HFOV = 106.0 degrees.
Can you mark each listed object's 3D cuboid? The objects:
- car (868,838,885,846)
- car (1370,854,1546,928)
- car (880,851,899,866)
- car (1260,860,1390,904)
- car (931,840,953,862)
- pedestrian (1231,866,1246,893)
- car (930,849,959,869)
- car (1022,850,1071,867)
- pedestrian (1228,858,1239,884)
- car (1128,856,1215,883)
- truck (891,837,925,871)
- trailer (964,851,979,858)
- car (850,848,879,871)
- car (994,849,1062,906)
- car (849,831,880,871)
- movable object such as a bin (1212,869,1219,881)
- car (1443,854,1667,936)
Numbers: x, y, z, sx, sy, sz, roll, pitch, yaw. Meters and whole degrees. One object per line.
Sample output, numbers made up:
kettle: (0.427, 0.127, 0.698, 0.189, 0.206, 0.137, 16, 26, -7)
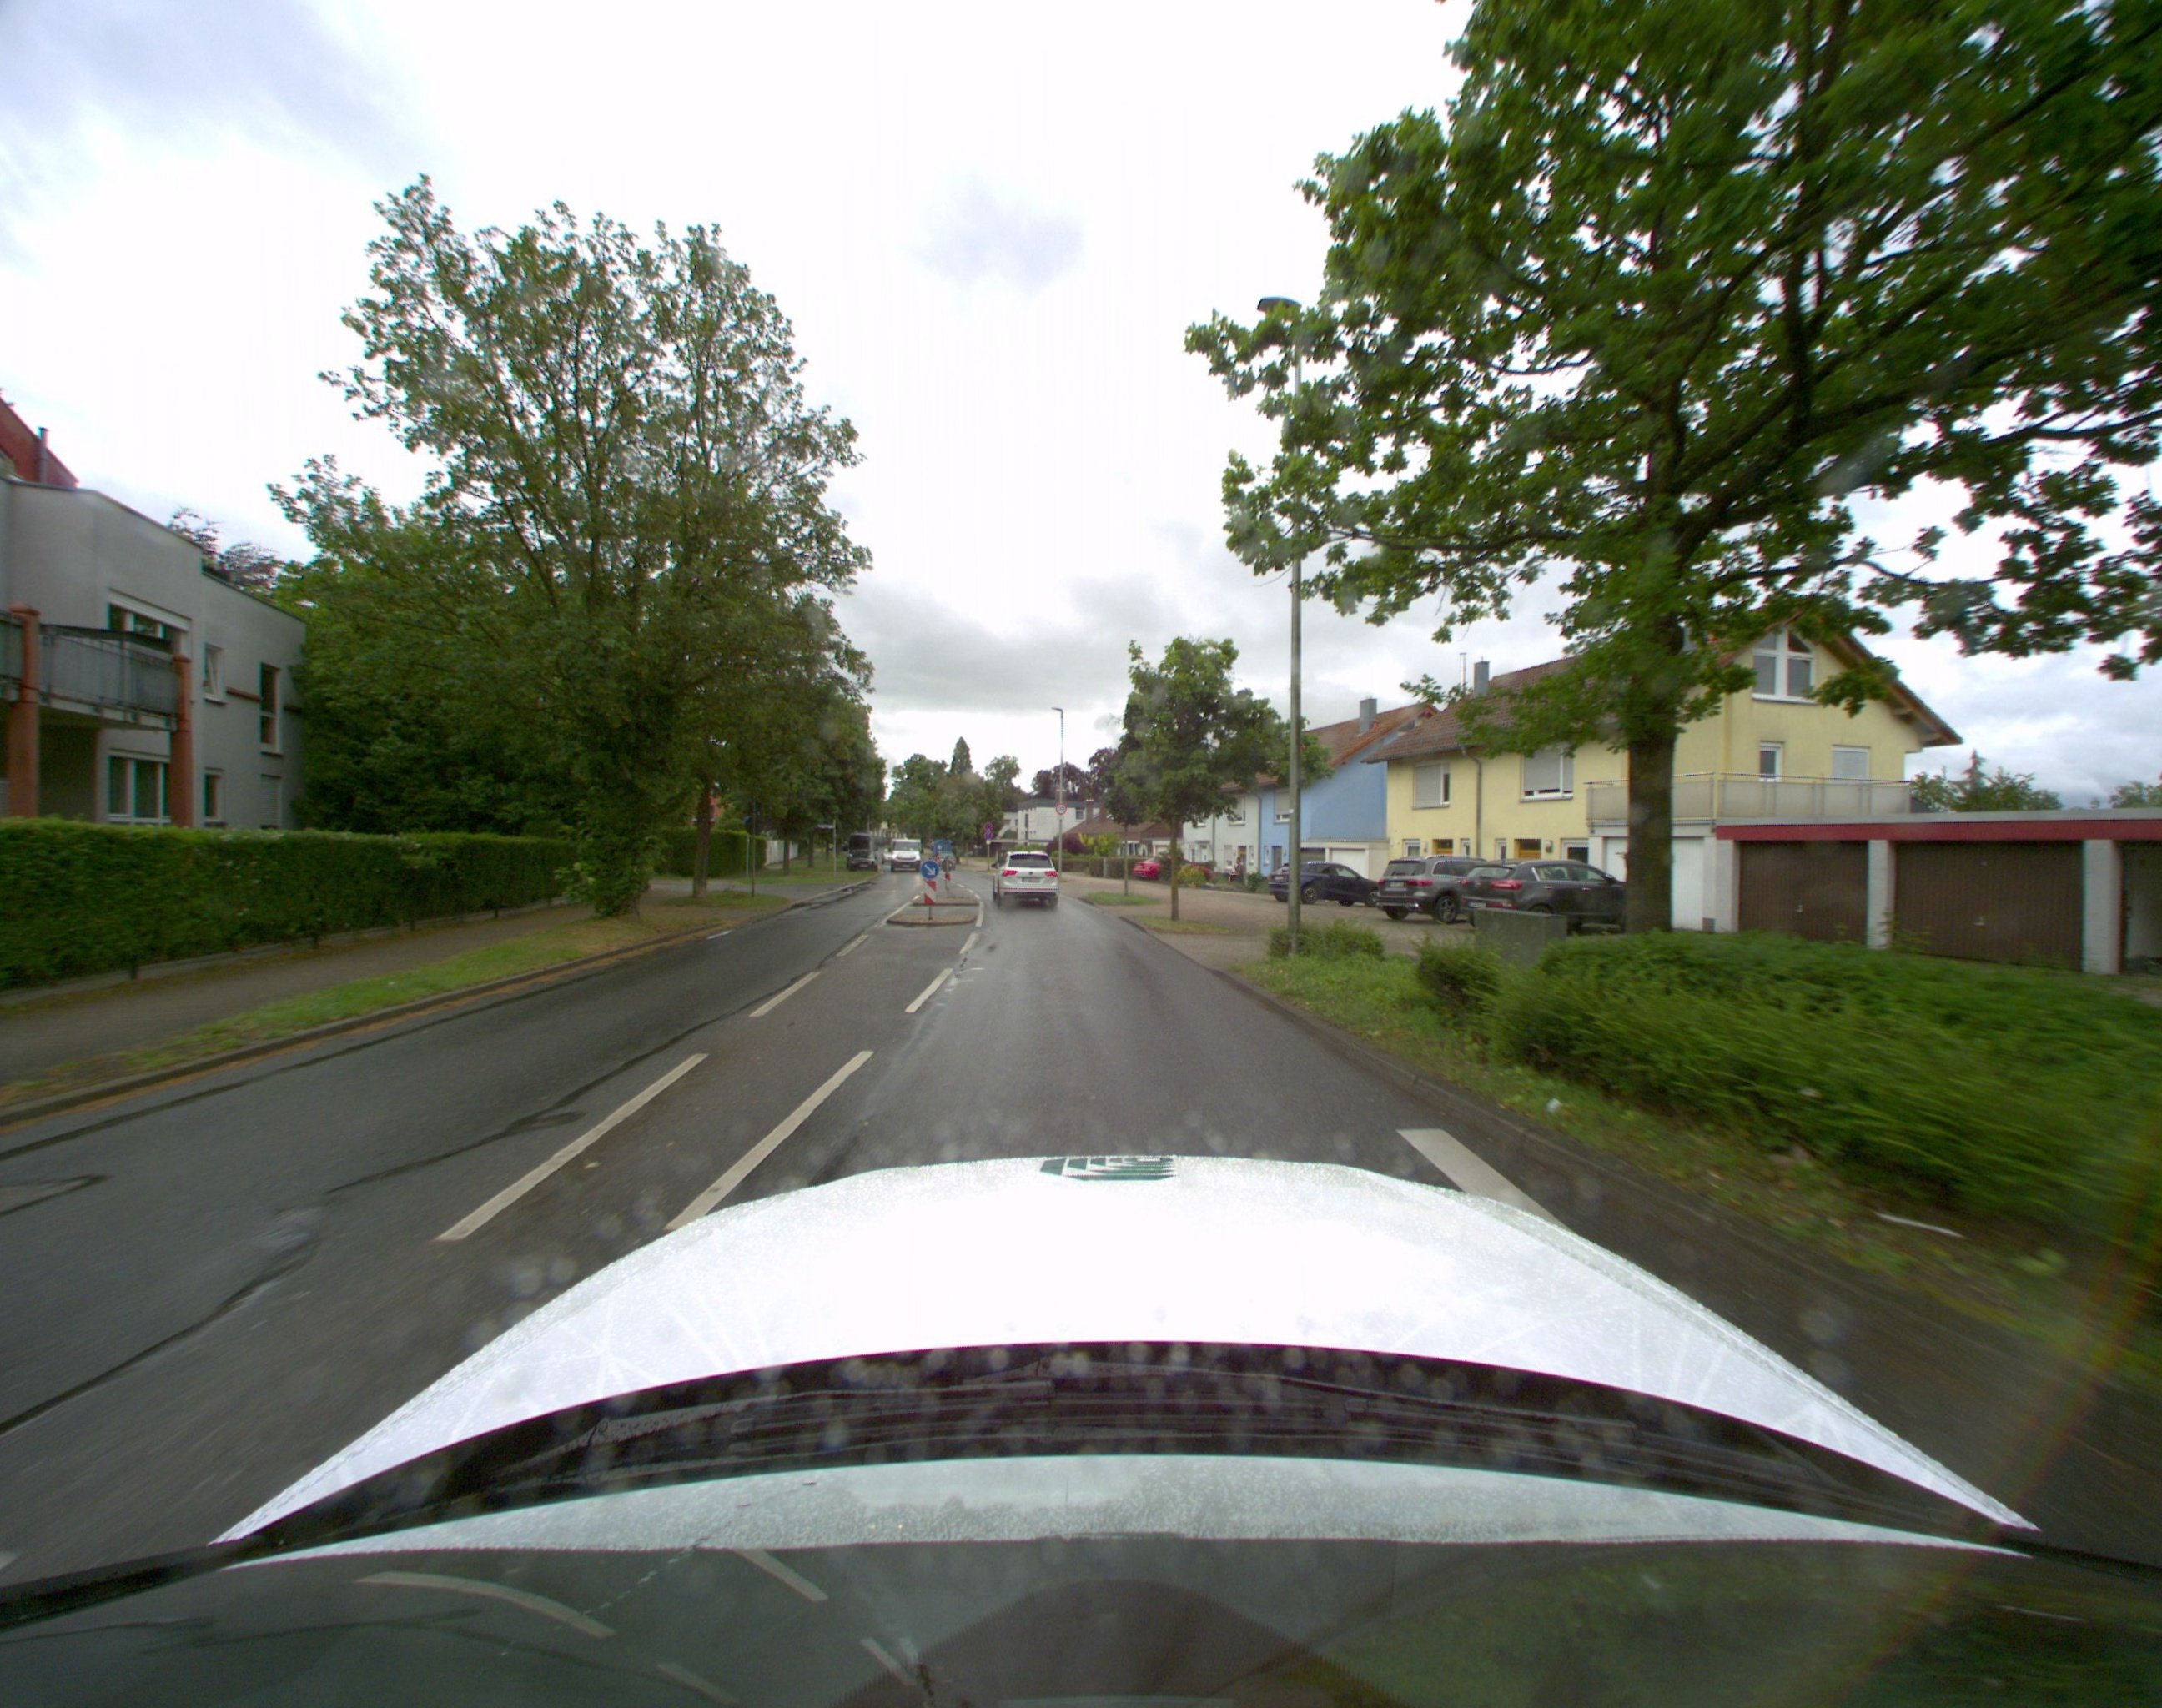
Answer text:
car: (-39.550, -2.296, 157.702, 1.655, 1.427, 3.955, 2, 1, -39)
car: (9.725, 0.944, 20.996, 4.196, 1.671, 1.709, 3, -1, -23)
car: (-19.111, 0.434, 81.207, 1.598, 1.464, 3.432, 1, 0, -18)
car: (8.284, 0.940, 27.649, 3.997, 1.387, 1.665, 1, 0, -18)
car: (-16.574, -0.373, 97.195, 1.997, 2.586, 5.604, -1, 1, -16)
pedestrian: (8.192, 1.329, 42.257, 0.538, 1.351, 0.524, 1, 0, -29)
car: (-11.190, 0.412, 66.455, 1.773, 1.551, 3.976, 1, 0, -17)
car: (-3.036, 0.403, 71.565, 3.996, 1.442, 1.836, 1, 0, -17)
pedestrian: (8.010, 0.898, 42.791, 0.493, 1.351, 0.566, 1, 0, 7)
car: (4.809, 0.815, 43.233, 4.324, 1.260, 1.665, 2, 0, -26)
truck: (-12.239, -0.016, 57.962, 2.218, 2.204, 6.439, 2, 0, -11)
trailer: (-16.241, 0.039, 120.924, 2.044, 0.883, 1.359, 2, 0, -13)
car: (-14.155, 0.352, 53.205, 1.726, 1.408, 3.805, 1, 0, -16)
car: (-1.760, 0.680, 25.733, 1.864, 1.651, 3.989, 0, 0, -8)
car: (-15.924, -0.262, 59.859, 1.997, 2.728, 5.908, 2, 0, -15)
movable object such as a bin: (6.801, 1.066, 41.198, 0.256, 0.626, 0.323, 1, 0, -15)
car: (10.544, 0.863, 18.216, 4.186, 1.671, 1.982, 1, 0, -15)
